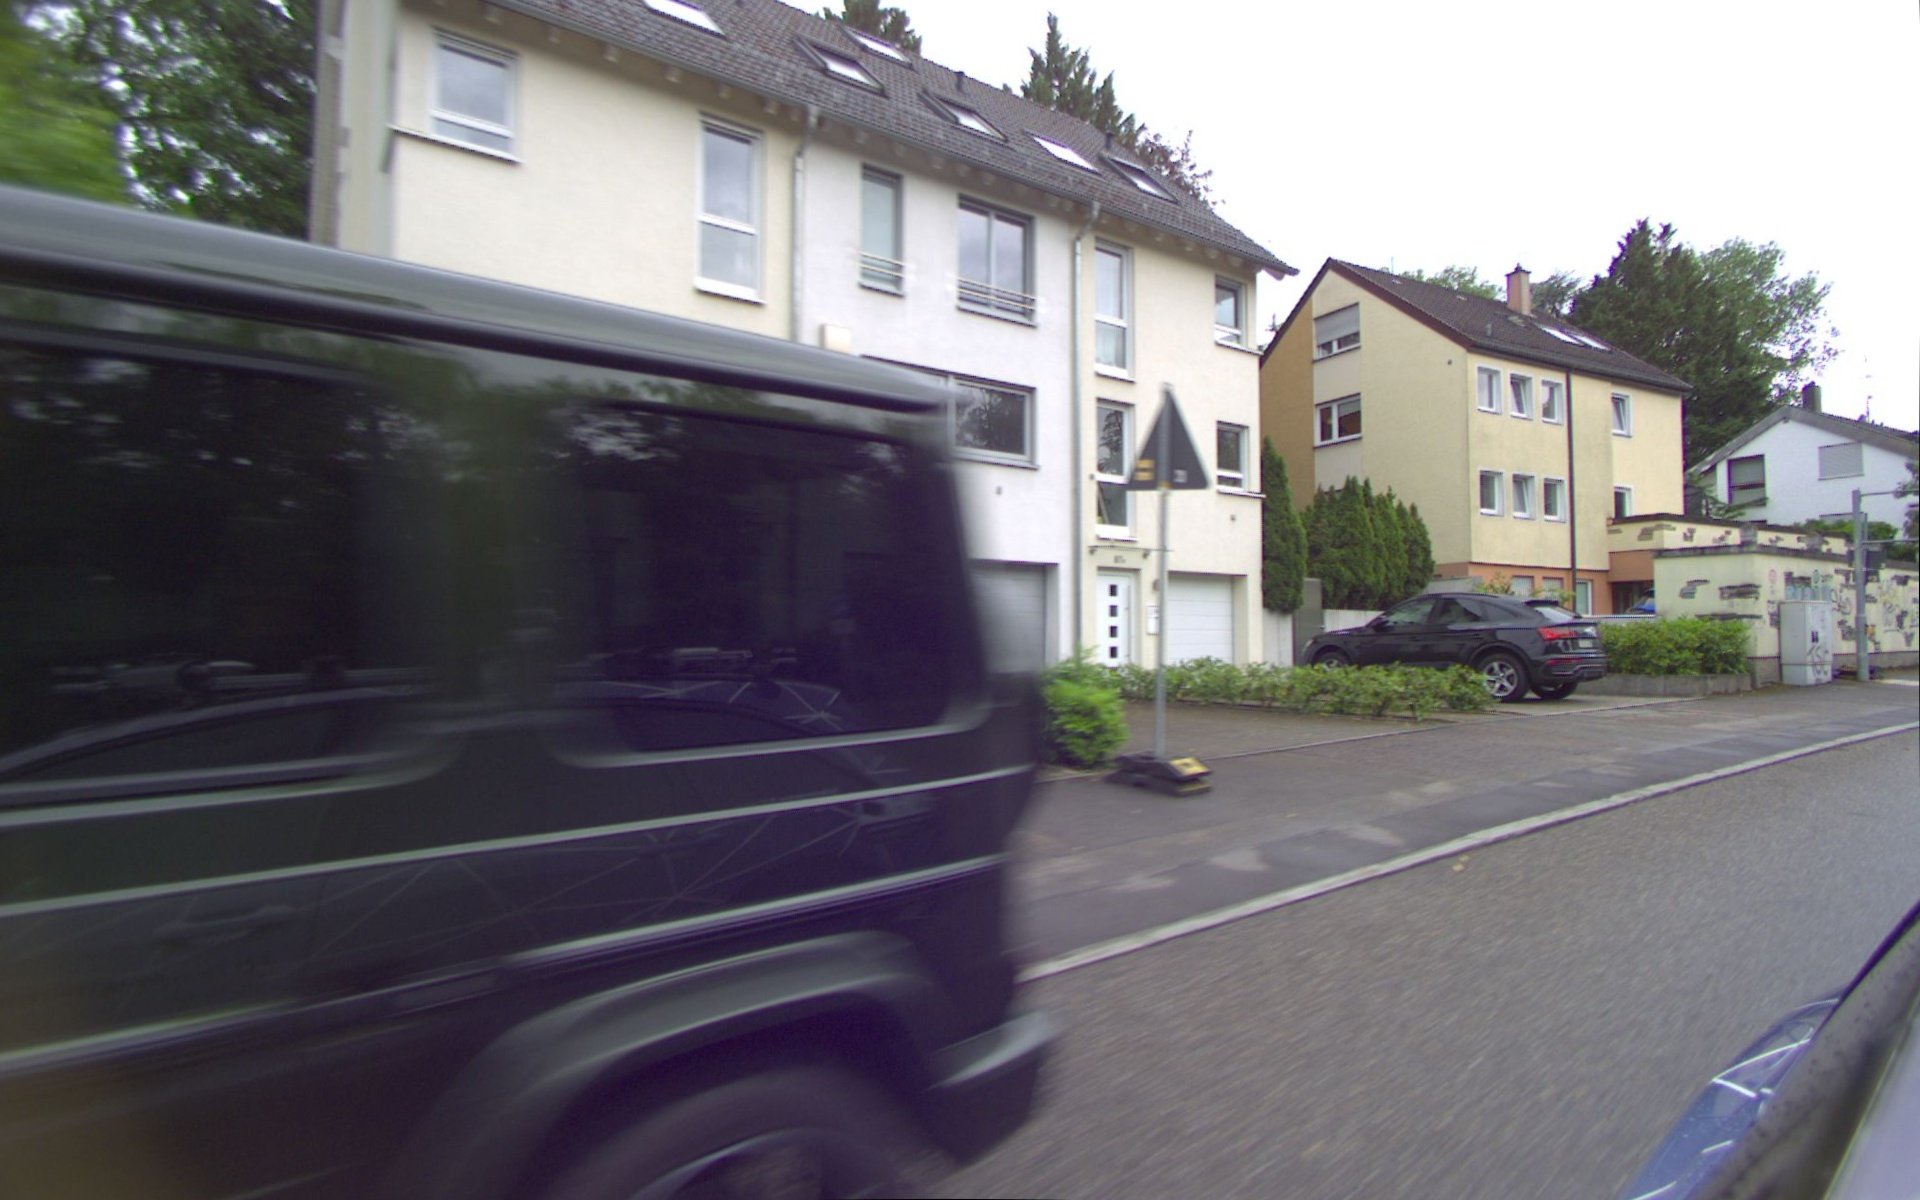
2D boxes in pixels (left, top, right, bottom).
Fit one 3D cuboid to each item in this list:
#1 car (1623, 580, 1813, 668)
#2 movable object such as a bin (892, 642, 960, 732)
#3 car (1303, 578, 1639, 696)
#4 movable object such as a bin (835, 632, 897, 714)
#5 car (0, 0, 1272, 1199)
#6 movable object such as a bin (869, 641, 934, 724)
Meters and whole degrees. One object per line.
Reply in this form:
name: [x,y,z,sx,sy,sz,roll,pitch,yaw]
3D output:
car: [15.612,0.473,20.783,4.262,1.617,1.936,-1,-3,-37]
movable object such as a bin: [-0.386,0.961,11.370,0.584,0.953,0.508,0,-1,-38]
car: [7.984,0.627,16.222,1.955,1.617,4.339,-1,-3,-35]
movable object such as a bin: [-1.163,0.888,12.529,0.584,0.967,0.508,0,-1,-38]
car: [-1.849,0.429,1.383,4.868,2.039,1.998,0,1,-39]
movable object such as a bin: [-0.694,0.954,11.918,0.584,0.923,0.508,0,-1,-38]
